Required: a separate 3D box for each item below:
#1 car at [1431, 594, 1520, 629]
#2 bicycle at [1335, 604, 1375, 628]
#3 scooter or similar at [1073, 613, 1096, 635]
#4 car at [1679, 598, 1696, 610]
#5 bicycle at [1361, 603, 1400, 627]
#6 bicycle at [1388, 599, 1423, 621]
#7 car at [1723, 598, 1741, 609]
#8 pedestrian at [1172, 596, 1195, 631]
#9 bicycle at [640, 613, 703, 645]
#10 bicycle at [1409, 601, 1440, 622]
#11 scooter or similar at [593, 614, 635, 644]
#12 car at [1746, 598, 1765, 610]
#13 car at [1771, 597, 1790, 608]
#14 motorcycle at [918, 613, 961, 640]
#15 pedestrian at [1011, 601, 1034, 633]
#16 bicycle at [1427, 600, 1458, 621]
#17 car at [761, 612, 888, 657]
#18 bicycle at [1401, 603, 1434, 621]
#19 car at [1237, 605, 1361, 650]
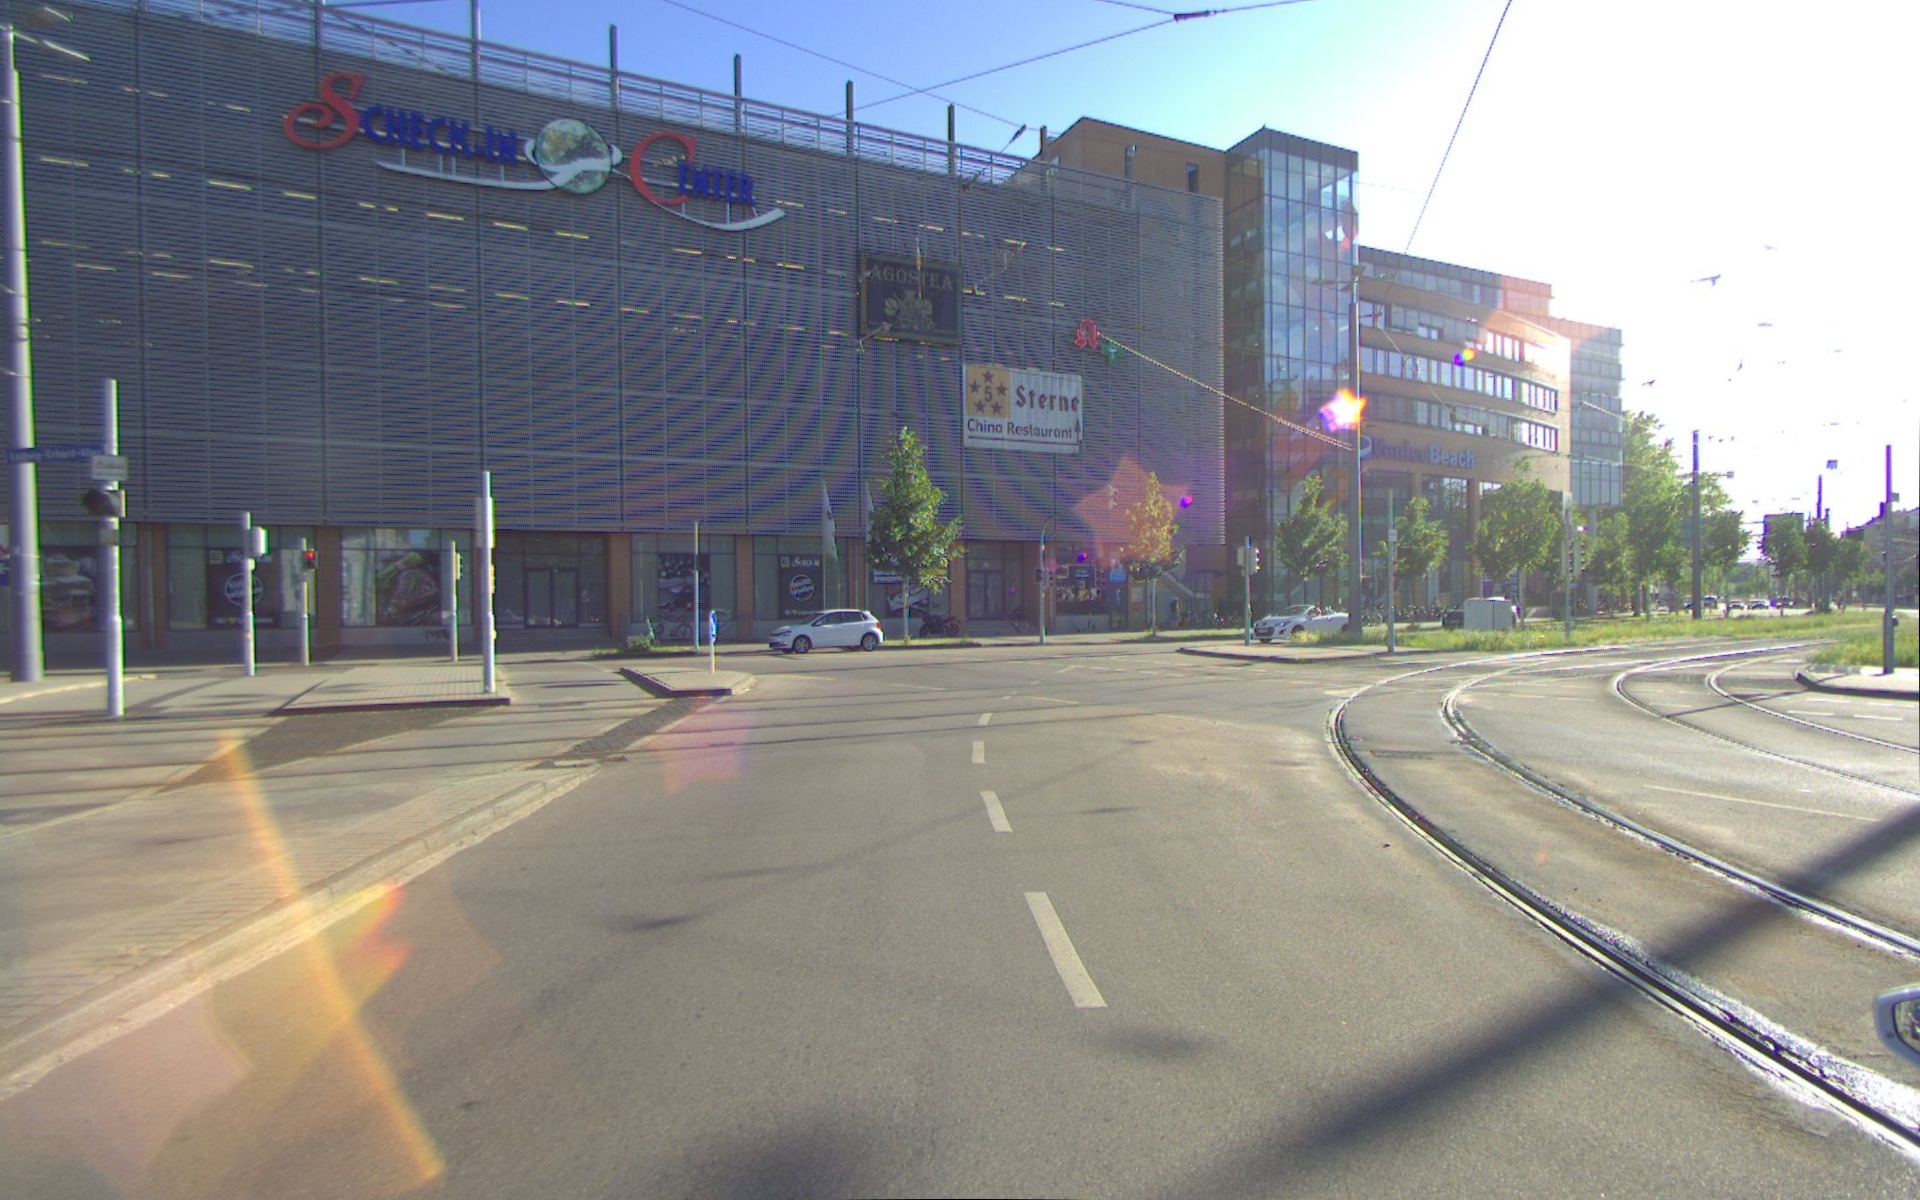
[{"bbox_3d":[25.225,0.543,49.120,4.363,1.662,1.983,0,0,-32],"label":"car"},{"bbox_3d":[24.300,0.994,61.833,0.890,1.452,2.561,0,-1,-16],"label":"bicycle"},{"bbox_3d":[6.420,1.254,51.719,1.136,1.124,0.419,1,-1,-25],"label":"scooter or similar"},{"bbox_3d":[110.741,0.602,152.888,1.967,1.706,3.986,0,0,35],"label":"car"},{"bbox_3d":[26.482,0.953,63.289,0.890,1.452,2.561,0,-1,-16],"label":"bicycle"},{"bbox_3d":[30.719,0.687,69.327,0.759,1.452,2.607,0,-1,-16],"label":"bicycle"},{"bbox_3d":[115.925,0.532,150.887,1.967,1.706,3.986,0,0,35],"label":"car"},{"bbox_3d":[12.063,0.717,54.238,0.892,1.848,0.824,1,-1,-24],"label":"pedestrian"},{"bbox_3d":[-11.753,1.157,40.914,2.380,1.237,0.798,0,0,-23],"label":"bicycle"},{"bbox_3d":[32.611,0.790,70.594,0.706,1.452,2.245,0,-1,-16],"label":"bicycle"},{"bbox_3d":[-14.371,1.193,41.691,1.553,1.223,0.791,1,-1,-25],"label":"scooter or similar"},{"bbox_3d":[117.955,0.551,148.995,1.967,1.706,3.986,0,0,35],"label":"car"},{"bbox_3d":[121.176,0.365,148.376,1.967,1.706,3.986,0,0,35],"label":"car"},{"bbox_3d":[-0.940,1.215,46.587,1.869,1.255,0.673,1,-1,-27],"label":"motorcycle"},{"bbox_3d":[3.193,0.883,51.550,0.818,1.586,0.984,1,-1,-25],"label":"pedestrian"},{"bbox_3d":[34.372,0.761,71.580,0.746,1.452,2.138,0,-1,-16],"label":"bicycle"},{"bbox_3d":[-4.682,1.153,34.640,3.948,1.426,1.887,-1,0,-27],"label":"car"},{"bbox_3d":[31.918,0.845,70.093,0.732,1.252,2.413,0,-1,-16],"label":"bicycle"},{"bbox_3d":[12.869,1.012,38.099,4.474,1.566,1.985,0,0,-29],"label":"car"}]
